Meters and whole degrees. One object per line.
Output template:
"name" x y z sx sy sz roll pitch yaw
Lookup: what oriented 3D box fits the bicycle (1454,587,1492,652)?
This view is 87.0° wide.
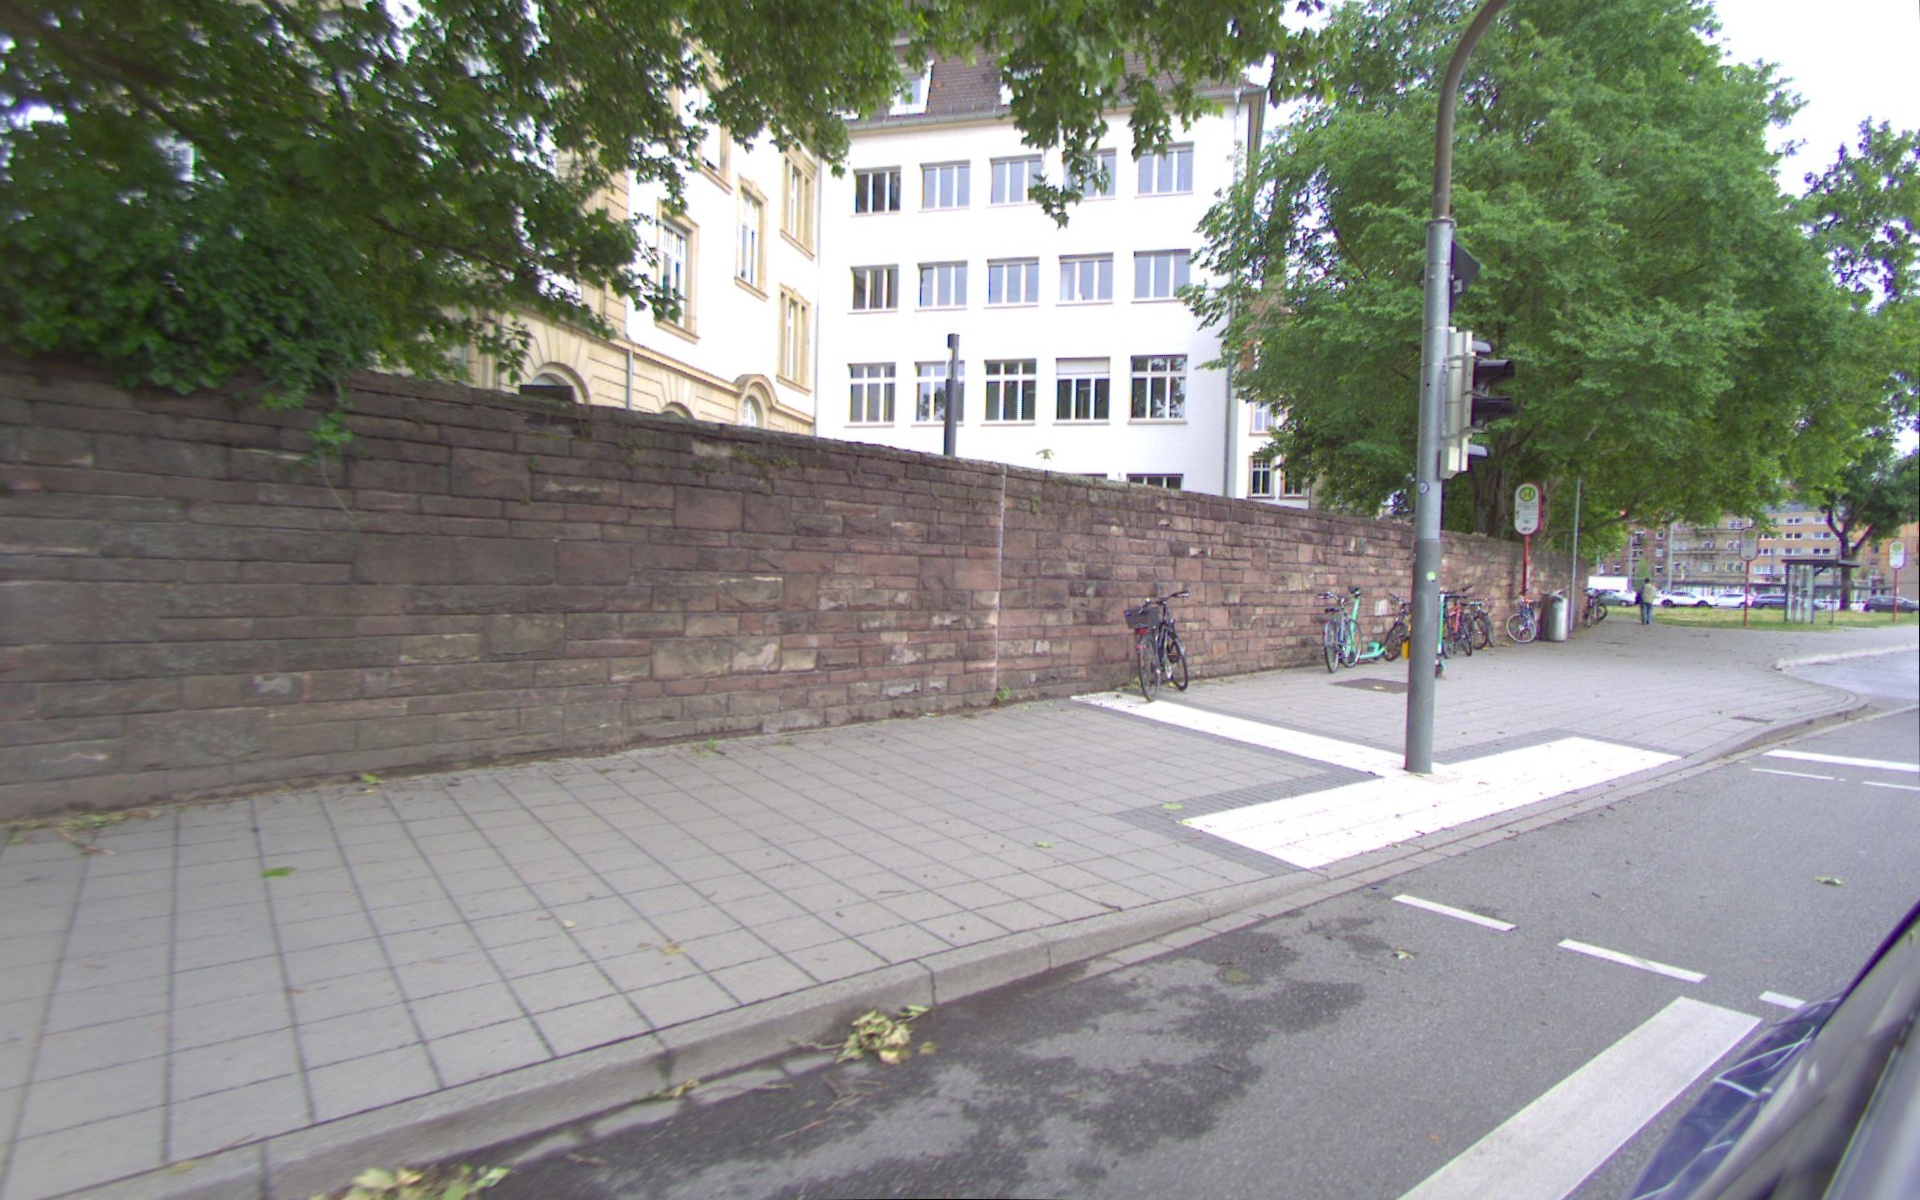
"bicycle" 9.552 0.342 18.820 0.337 1.158 1.917 0 0 36

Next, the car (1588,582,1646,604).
"car" 62.651 -0.646 96.573 1.966 2.039 4.277 0 0 -42

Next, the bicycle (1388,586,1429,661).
"bicycle" 7.380 0.356 16.637 0.383 1.158 1.920 0 0 31

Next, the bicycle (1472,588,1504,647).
"bicycle" 10.610 0.332 20.330 0.337 1.158 1.656 0 0 36

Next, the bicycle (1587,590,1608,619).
"bicycle" 22.006 0.143 34.932 0.477 0.951 1.880 2 2 29

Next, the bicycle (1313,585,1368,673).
"bicycle" 5.370 0.371 14.235 0.383 1.158 1.920 0 0 31

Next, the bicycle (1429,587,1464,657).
"bicycle" 8.463 0.350 17.640 0.381 1.158 1.928 0 0 21

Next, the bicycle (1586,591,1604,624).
"bicycle" 19.625 0.214 31.275 0.361 0.951 1.624 2 2 29

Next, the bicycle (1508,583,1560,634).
"bicycle" 12.888 0.174 22.703 0.477 1.089 2.049 3 2 44

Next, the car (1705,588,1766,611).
"car" 68.671 -0.075 89.653 1.967 1.792 3.992 0 3 -43

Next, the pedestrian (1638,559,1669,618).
"pedestrian" 24.642 -0.436 35.983 0.779 2.037 0.878 4 4 34

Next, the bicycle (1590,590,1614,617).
"bicycle" 24.776 0.124 39.077 0.648 0.951 1.937 2 2 29
